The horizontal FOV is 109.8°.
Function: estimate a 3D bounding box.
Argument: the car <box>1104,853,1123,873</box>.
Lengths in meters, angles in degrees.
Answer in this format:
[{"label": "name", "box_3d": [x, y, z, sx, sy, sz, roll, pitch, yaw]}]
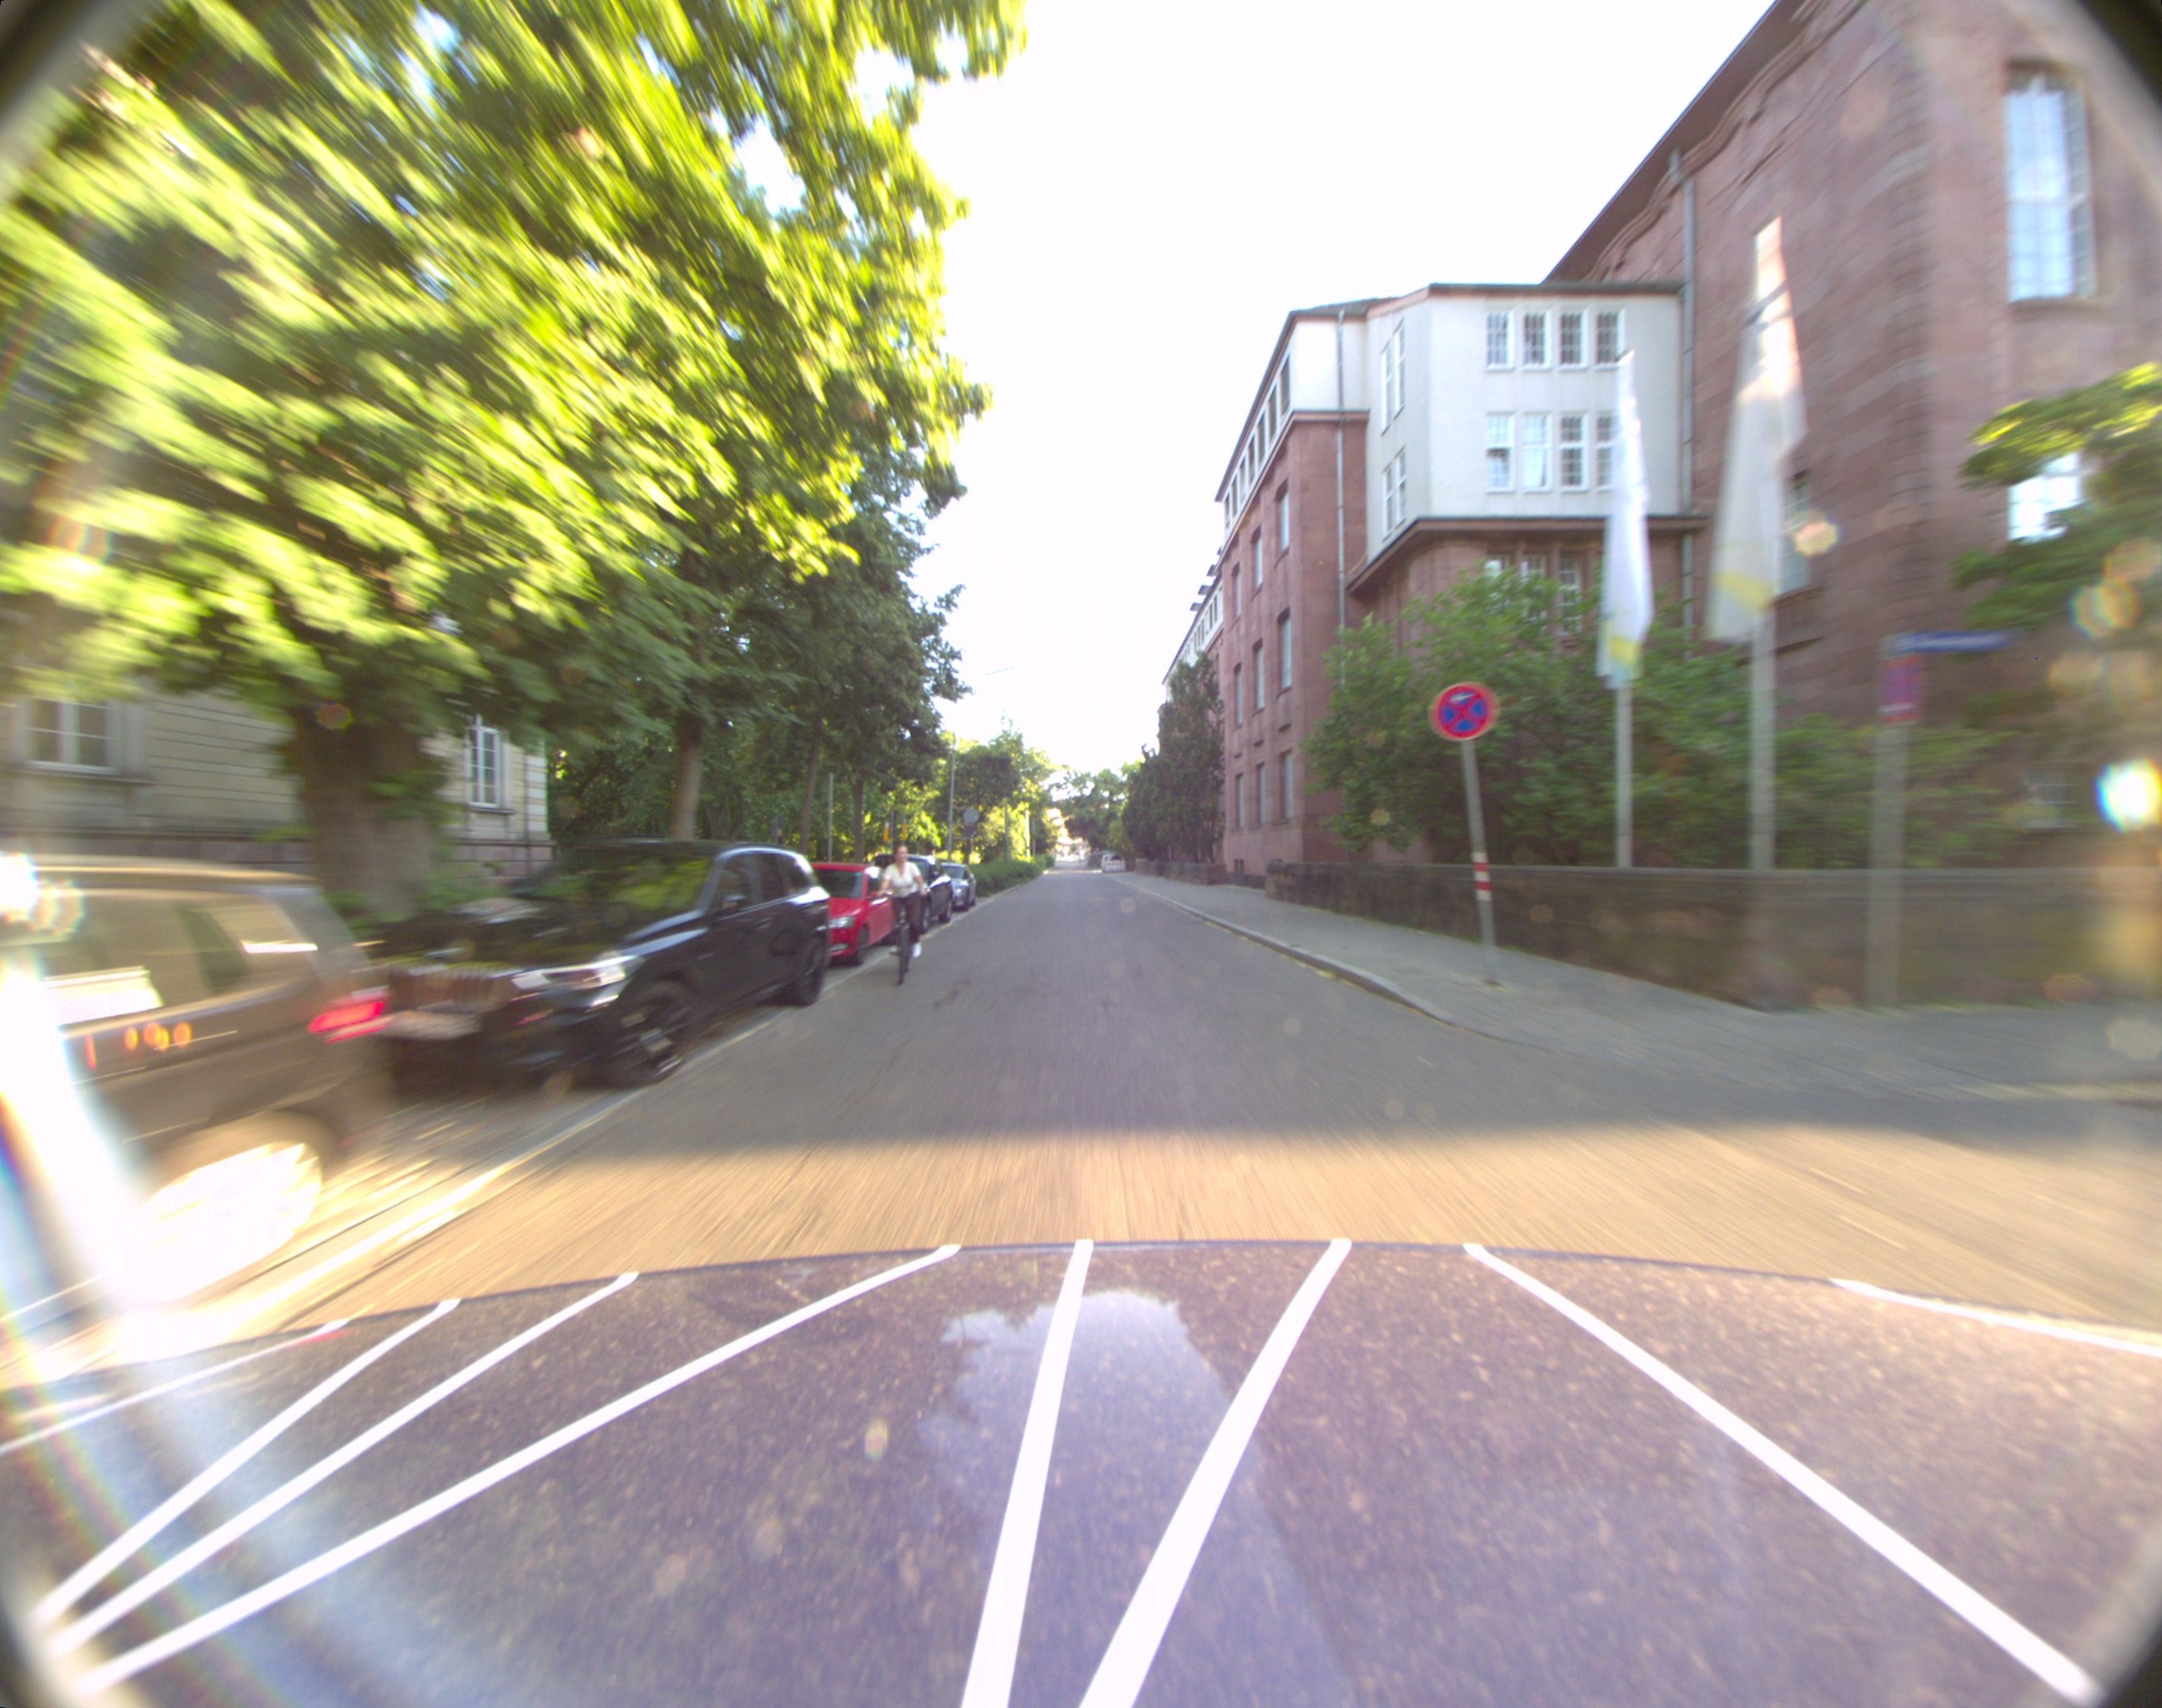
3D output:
[{"label": "car", "box_3d": [3.538, 0.945, 83.406, 1.886, 2.040, 4.324, 0, 1, -1]}]

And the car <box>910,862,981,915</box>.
[{"label": "car", "box_3d": [-4.159, 1.003, 23.862, 1.729, 1.430, 3.998, 0, 1, -3]}]

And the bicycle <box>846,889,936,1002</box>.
[{"label": "bicycle", "box_3d": [-2.458, 1.129, 10.109, 0.753, 1.245, 2.209, 0, 0, -3]}]

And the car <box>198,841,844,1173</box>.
[{"label": "car", "box_3d": [-3.816, 0.799, 6.600, 1.809, 1.803, 4.947, 0, 1, 2]}]

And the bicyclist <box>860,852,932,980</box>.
[{"label": "bicyclist", "box_3d": [-2.437, 0.785, 10.128, 0.753, 1.603, 1.038, 0, 0, -3]}]

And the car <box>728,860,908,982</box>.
[{"label": "car", "box_3d": [-4.051, 0.935, 12.394, 1.729, 1.579, 3.967, 0, 1, -3]}]

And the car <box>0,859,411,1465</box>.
[{"label": "car", "box_3d": [-3.881, 0.894, 1.180, 1.728, 1.673, 4.498, 0, 1, -1]}]

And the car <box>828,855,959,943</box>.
[{"label": "car", "box_3d": [-4.090, 0.891, 17.441, 1.886, 1.678, 4.694, 0, 1, -1]}]
